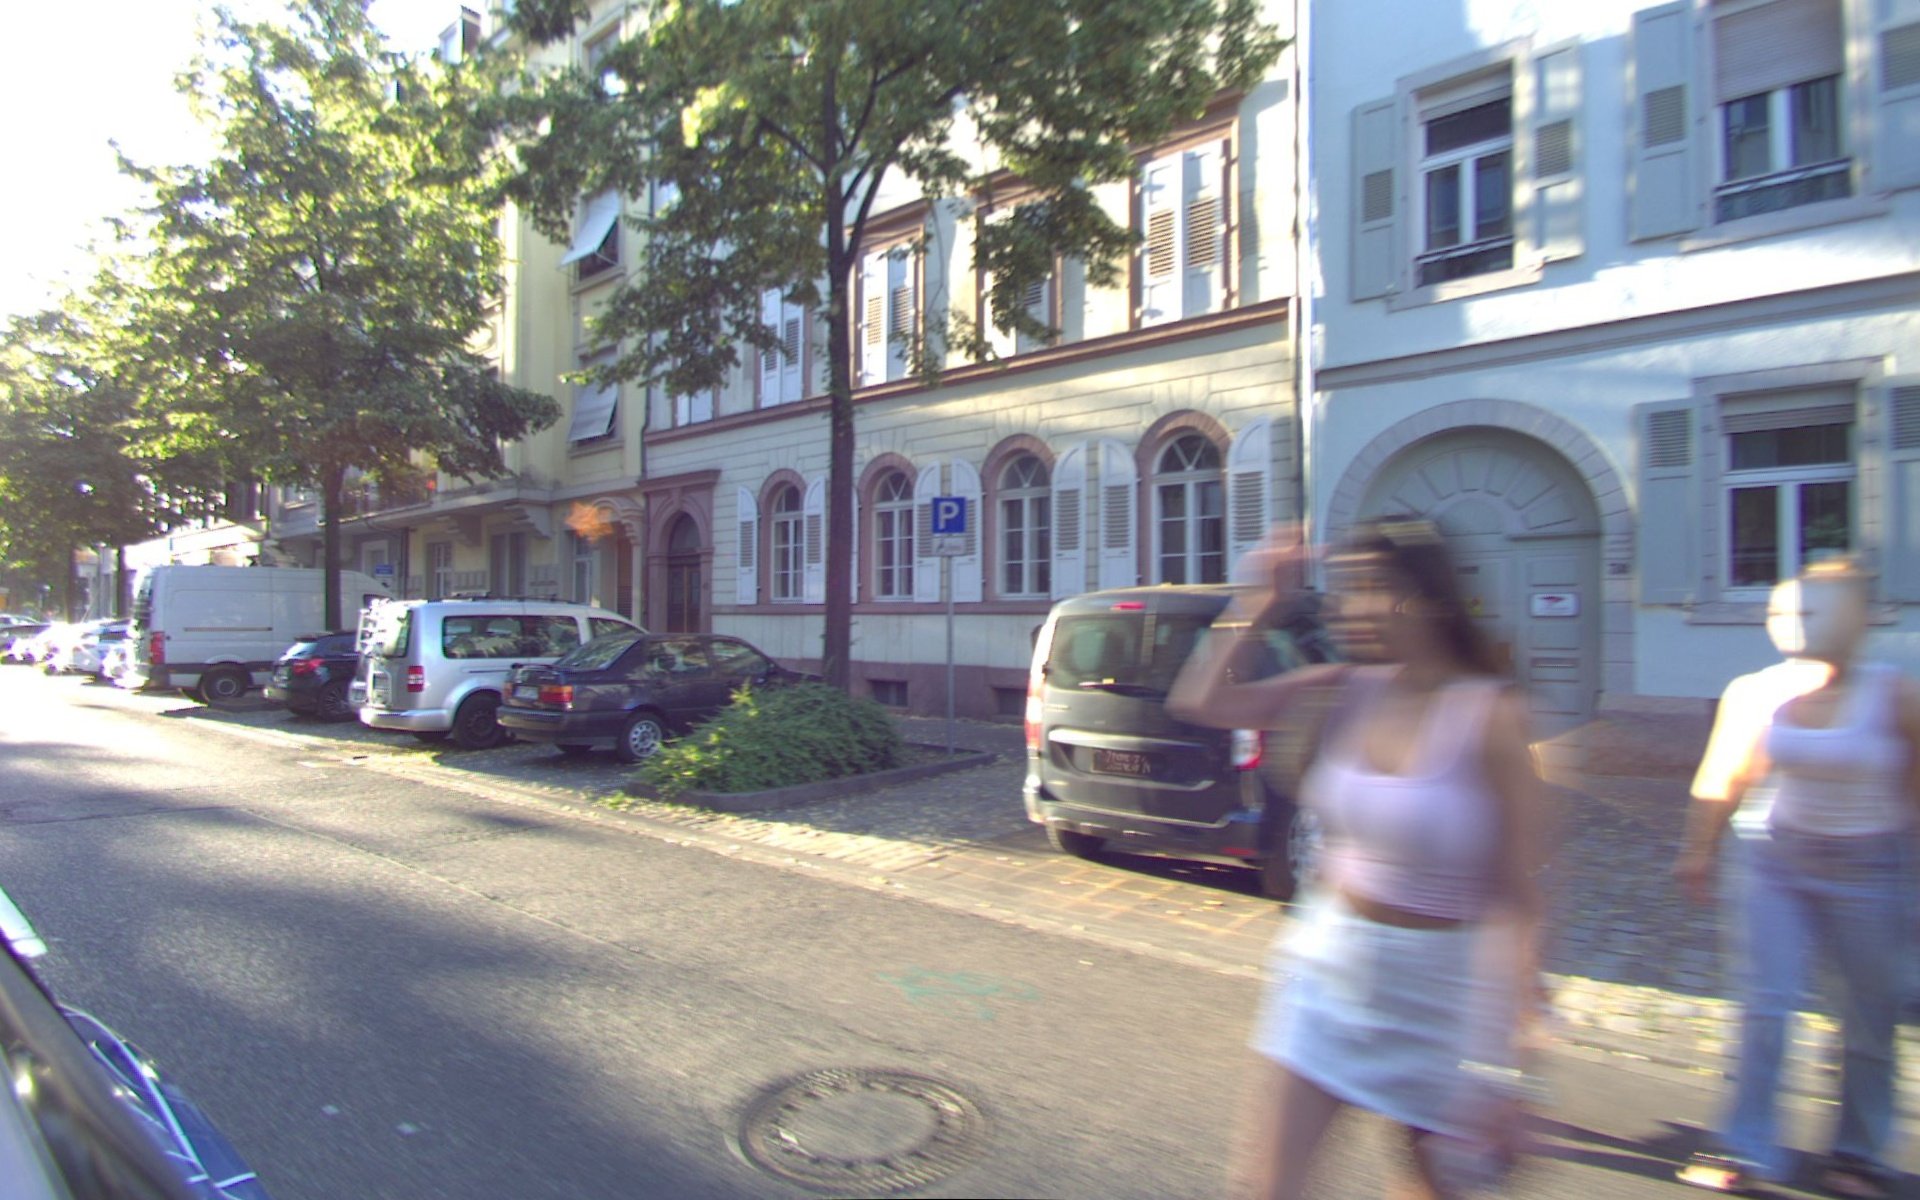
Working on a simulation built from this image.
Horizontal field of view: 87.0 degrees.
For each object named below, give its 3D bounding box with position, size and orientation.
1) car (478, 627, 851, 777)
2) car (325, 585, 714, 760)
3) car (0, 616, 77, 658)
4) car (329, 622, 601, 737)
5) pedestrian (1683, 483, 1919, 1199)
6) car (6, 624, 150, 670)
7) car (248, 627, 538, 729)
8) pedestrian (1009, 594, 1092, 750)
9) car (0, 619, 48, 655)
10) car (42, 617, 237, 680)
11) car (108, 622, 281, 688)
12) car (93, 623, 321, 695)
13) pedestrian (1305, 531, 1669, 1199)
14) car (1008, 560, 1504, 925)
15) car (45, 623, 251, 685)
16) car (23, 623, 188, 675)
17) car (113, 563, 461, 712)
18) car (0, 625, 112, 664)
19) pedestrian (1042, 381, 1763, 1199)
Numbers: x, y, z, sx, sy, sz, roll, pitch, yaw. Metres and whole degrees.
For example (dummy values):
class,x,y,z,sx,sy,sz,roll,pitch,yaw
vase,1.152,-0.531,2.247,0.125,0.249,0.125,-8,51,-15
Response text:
class,x,y,z,sx,sy,sz,roll,pitch,yaw
car,-3.362,1.074,12.152,1.593,1.450,4.108,-2,-2,41
car,-5.764,0.851,13.685,1.918,1.968,4.452,-2,-2,42
car,-43.569,1.716,46.209,2.052,1.825,4.658,-2,-1,41
car,-7.485,1.125,15.529,1.710,1.478,3.339,-2,-1,36
pedestrian,2.425,0.639,2.647,0.762,1.773,0.912,-2,-3,41
car,-31.786,1.664,36.553,1.789,1.459,3.744,-2,0,42
car,-9.453,1.208,17.129,1.748,1.414,3.948,0,0,39
pedestrian,1.101,0.853,12.293,0.779,1.815,0.655,-1,-2,40
car,-48.807,1.831,50.600,1.945,1.796,4.510,0,-1,39
car,-24.413,1.397,30.238,1.889,1.663,4.193,-2,-1,36
car,-20.023,1.394,26.526,1.847,1.521,3.370,-2,-1,43
car,-18.268,1.365,24.694,1.791,1.518,4.170,-2,-1,40
pedestrian,1.588,0.706,3.029,0.762,1.708,0.912,-1,-3,41
car,2.327,0.763,7.206,1.806,1.820,4.094,-2,-2,42
car,-22.467,1.446,28.127,1.968,1.494,4.145,-2,-1,39
car,-27.968,1.573,33.223,1.694,1.459,3.878,-2,0,37
car,-13.618,0.671,20.846,2.170,2.641,5.601,-2,-1,40
car,-37.490,1.801,41.161,1.821,1.434,4.338,-2,-1,40
pedestrian,0.703,0.621,1.585,0.827,1.651,0.818,-1,-3,41
